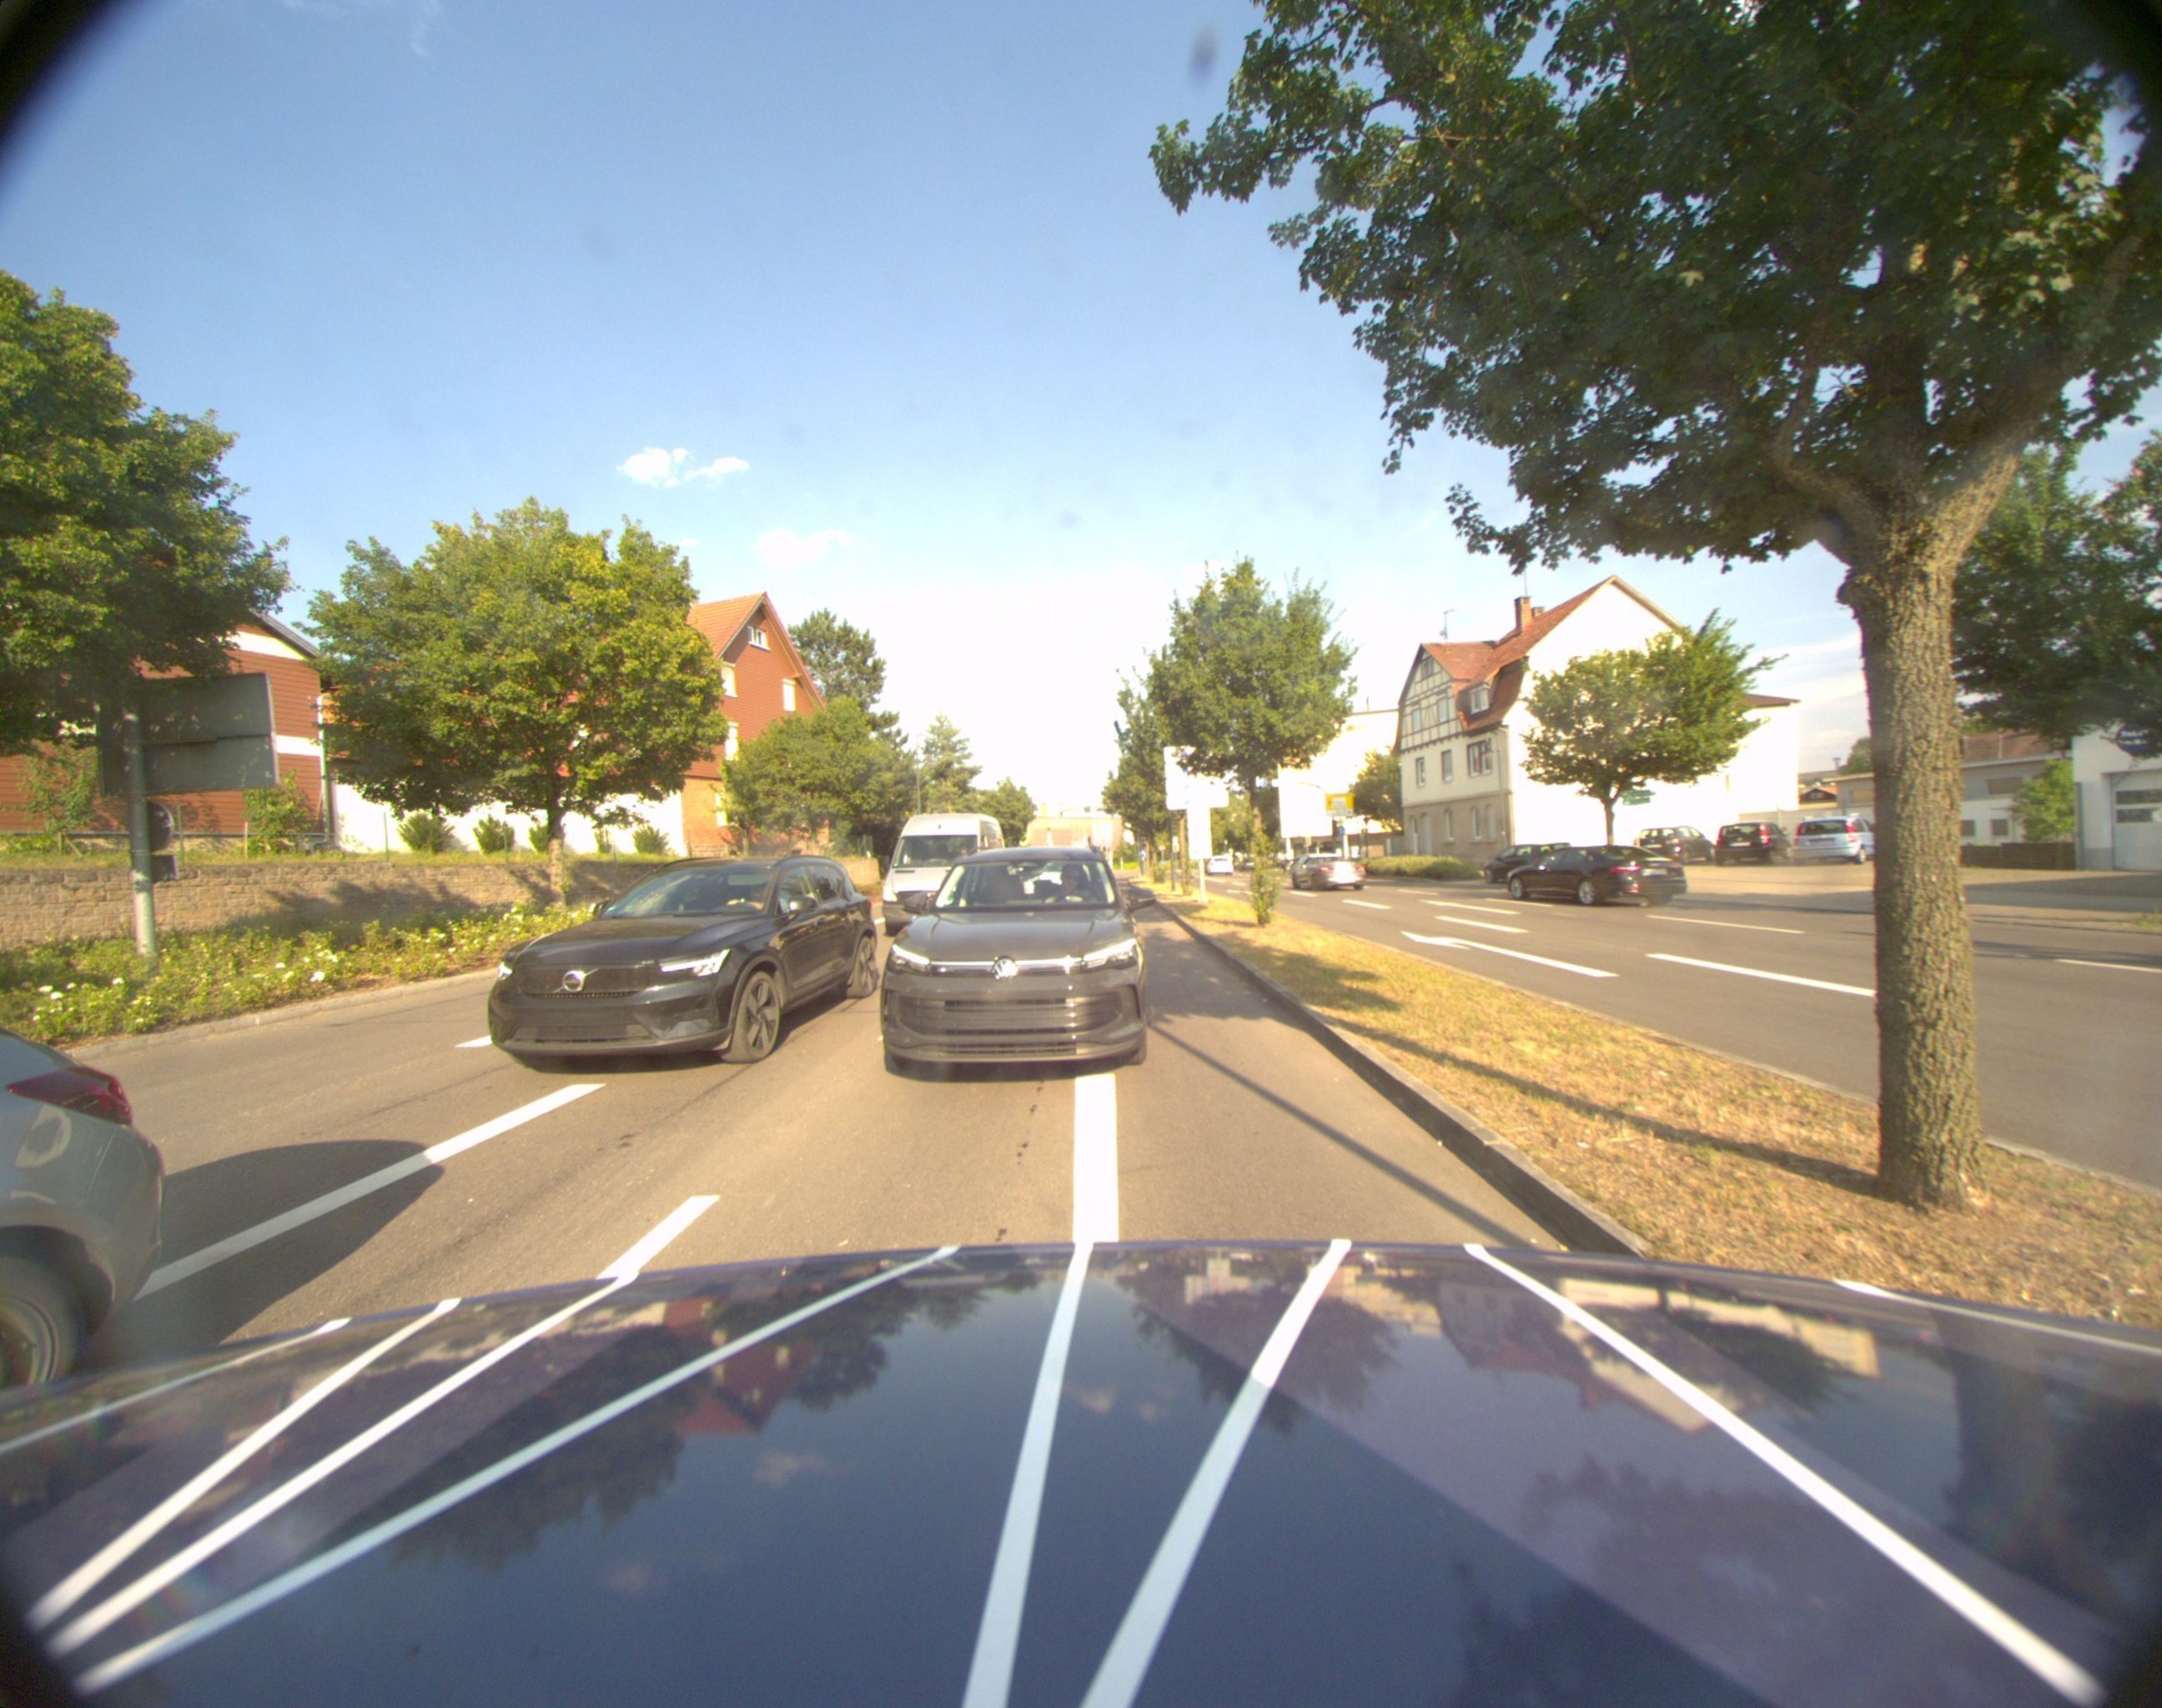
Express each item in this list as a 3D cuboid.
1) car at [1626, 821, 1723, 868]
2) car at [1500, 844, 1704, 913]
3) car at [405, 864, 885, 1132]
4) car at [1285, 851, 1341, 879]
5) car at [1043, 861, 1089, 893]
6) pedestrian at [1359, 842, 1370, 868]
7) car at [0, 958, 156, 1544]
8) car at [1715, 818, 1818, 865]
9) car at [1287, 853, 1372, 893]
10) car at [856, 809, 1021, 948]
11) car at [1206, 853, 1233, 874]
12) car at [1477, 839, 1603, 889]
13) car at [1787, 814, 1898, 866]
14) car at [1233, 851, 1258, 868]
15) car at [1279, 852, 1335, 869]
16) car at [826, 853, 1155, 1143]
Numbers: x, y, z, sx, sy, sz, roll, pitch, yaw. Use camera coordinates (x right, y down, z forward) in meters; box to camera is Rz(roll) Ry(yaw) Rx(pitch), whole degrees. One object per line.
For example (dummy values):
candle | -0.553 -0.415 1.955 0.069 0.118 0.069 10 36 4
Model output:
car | 23.383 -0.401 29.908 4.006 1.543 1.764 -4 1 -33
car | 12.447 0.522 18.608 1.848 1.413 4.644 -2 0 1
car | -3.355 0.966 6.980 1.886 1.599 4.128 -2 0 2
car | 13.350 0.586 44.004 1.691 1.454 4.711 -2 0 -1
car | -0.653 1.058 36.269 1.765 1.346 4.132 -2 0 4
pedestrian | 21.936 0.087 58.775 0.698 1.971 0.589 -2 1 29
car | -3.623 1.059 0.135 1.748 1.433 4.166 -2 0 0
car | 24.869 -0.480 27.536 4.006 1.543 1.763 -2 1 -33
car | 9.469 0.662 29.319 1.785 1.341 4.478 -2 0 0
car | -2.928 0.445 17.414 2.370 2.532 6.192 -2 0 2
car | 10.879 0.696 59.898 1.805 1.488 3.957 -2 0 7
car | 16.001 0.316 26.792 1.839 1.435 4.195 -5 0 1
car | 24.972 -0.481 24.880 4.006 1.543 1.763 -2 1 -33
car | 15.539 0.524 71.921 1.811 1.488 4.247 -2 0 5
car | 20.524 0.550 69.227 4.660 1.346 1.768 -2 1 9
car | -0.478 0.853 6.864 1.894 1.647 4.730 -2 0 1
